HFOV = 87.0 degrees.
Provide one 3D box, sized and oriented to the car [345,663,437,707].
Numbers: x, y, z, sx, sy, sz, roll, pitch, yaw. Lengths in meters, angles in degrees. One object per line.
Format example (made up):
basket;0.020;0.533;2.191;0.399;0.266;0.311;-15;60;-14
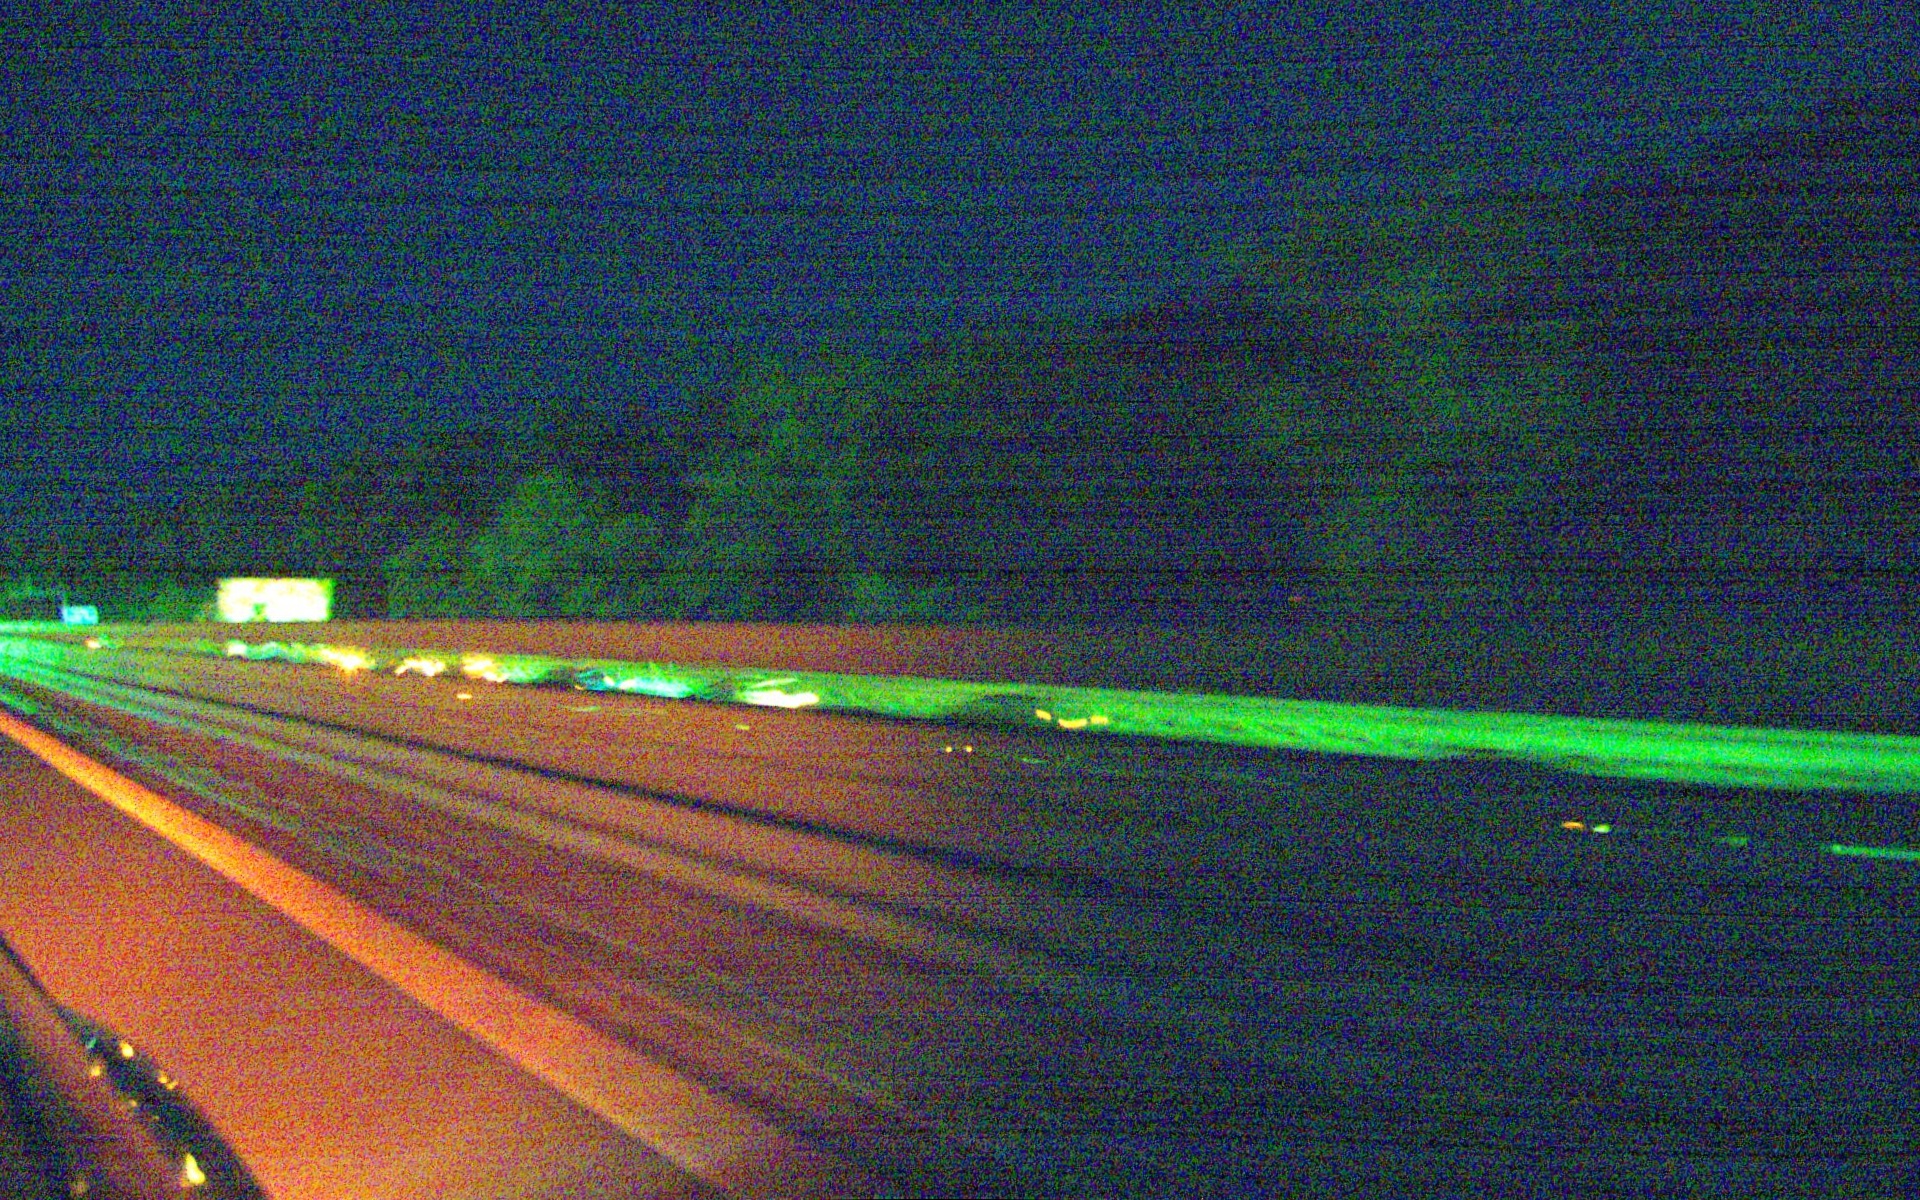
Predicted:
car;-23.212;3.423;41.253;4.402;1.502;1.972;-2;-1;42

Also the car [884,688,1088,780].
car;0.432;2.564;20.069;1.686;1.387;4.003;1;-2;-44

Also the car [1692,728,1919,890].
car;10.633;2.326;11.189;3.997;1.409;1.681;-2;-1;40

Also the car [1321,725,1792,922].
car;6.078;2.148;10.603;3.999;1.313;1.701;-2;-3;42

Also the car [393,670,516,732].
car;-14.033;2.737;28.018;4.001;1.427;1.780;-2;-3;44

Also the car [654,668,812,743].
car;-5.833;2.597;25.742;4.140;1.560;1.971;-2;-1;44

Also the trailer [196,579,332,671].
trailer;-37.953;1.239;54.786;14.814;4.348;3.113;-1;1;44

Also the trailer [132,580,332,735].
trailer;-21.087;1.421;28.972;10.124;3.741;2.508;-1;1;42

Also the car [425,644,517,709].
car;-17.235;2.614;35.552;1.866;2.029;4.005;0;-1;-42

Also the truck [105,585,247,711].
truck;-26.142;1.454;33.628;6.755;3.771;2.575;-1;1;43

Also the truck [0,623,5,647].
truck;-152.097;5.468;158.655;8.543;3.618;2.627;-2;-1;40

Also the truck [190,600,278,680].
truck;-42.680;2.263;59.438;6.284;4.348;3.053;-1;1;44

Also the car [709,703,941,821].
car;-2.331;2.572;16.798;1.779;1.427;4.003;3;-3;-44

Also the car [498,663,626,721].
car;-12.447;2.804;31.526;4.402;1.502;1.972;-2;-1;42
